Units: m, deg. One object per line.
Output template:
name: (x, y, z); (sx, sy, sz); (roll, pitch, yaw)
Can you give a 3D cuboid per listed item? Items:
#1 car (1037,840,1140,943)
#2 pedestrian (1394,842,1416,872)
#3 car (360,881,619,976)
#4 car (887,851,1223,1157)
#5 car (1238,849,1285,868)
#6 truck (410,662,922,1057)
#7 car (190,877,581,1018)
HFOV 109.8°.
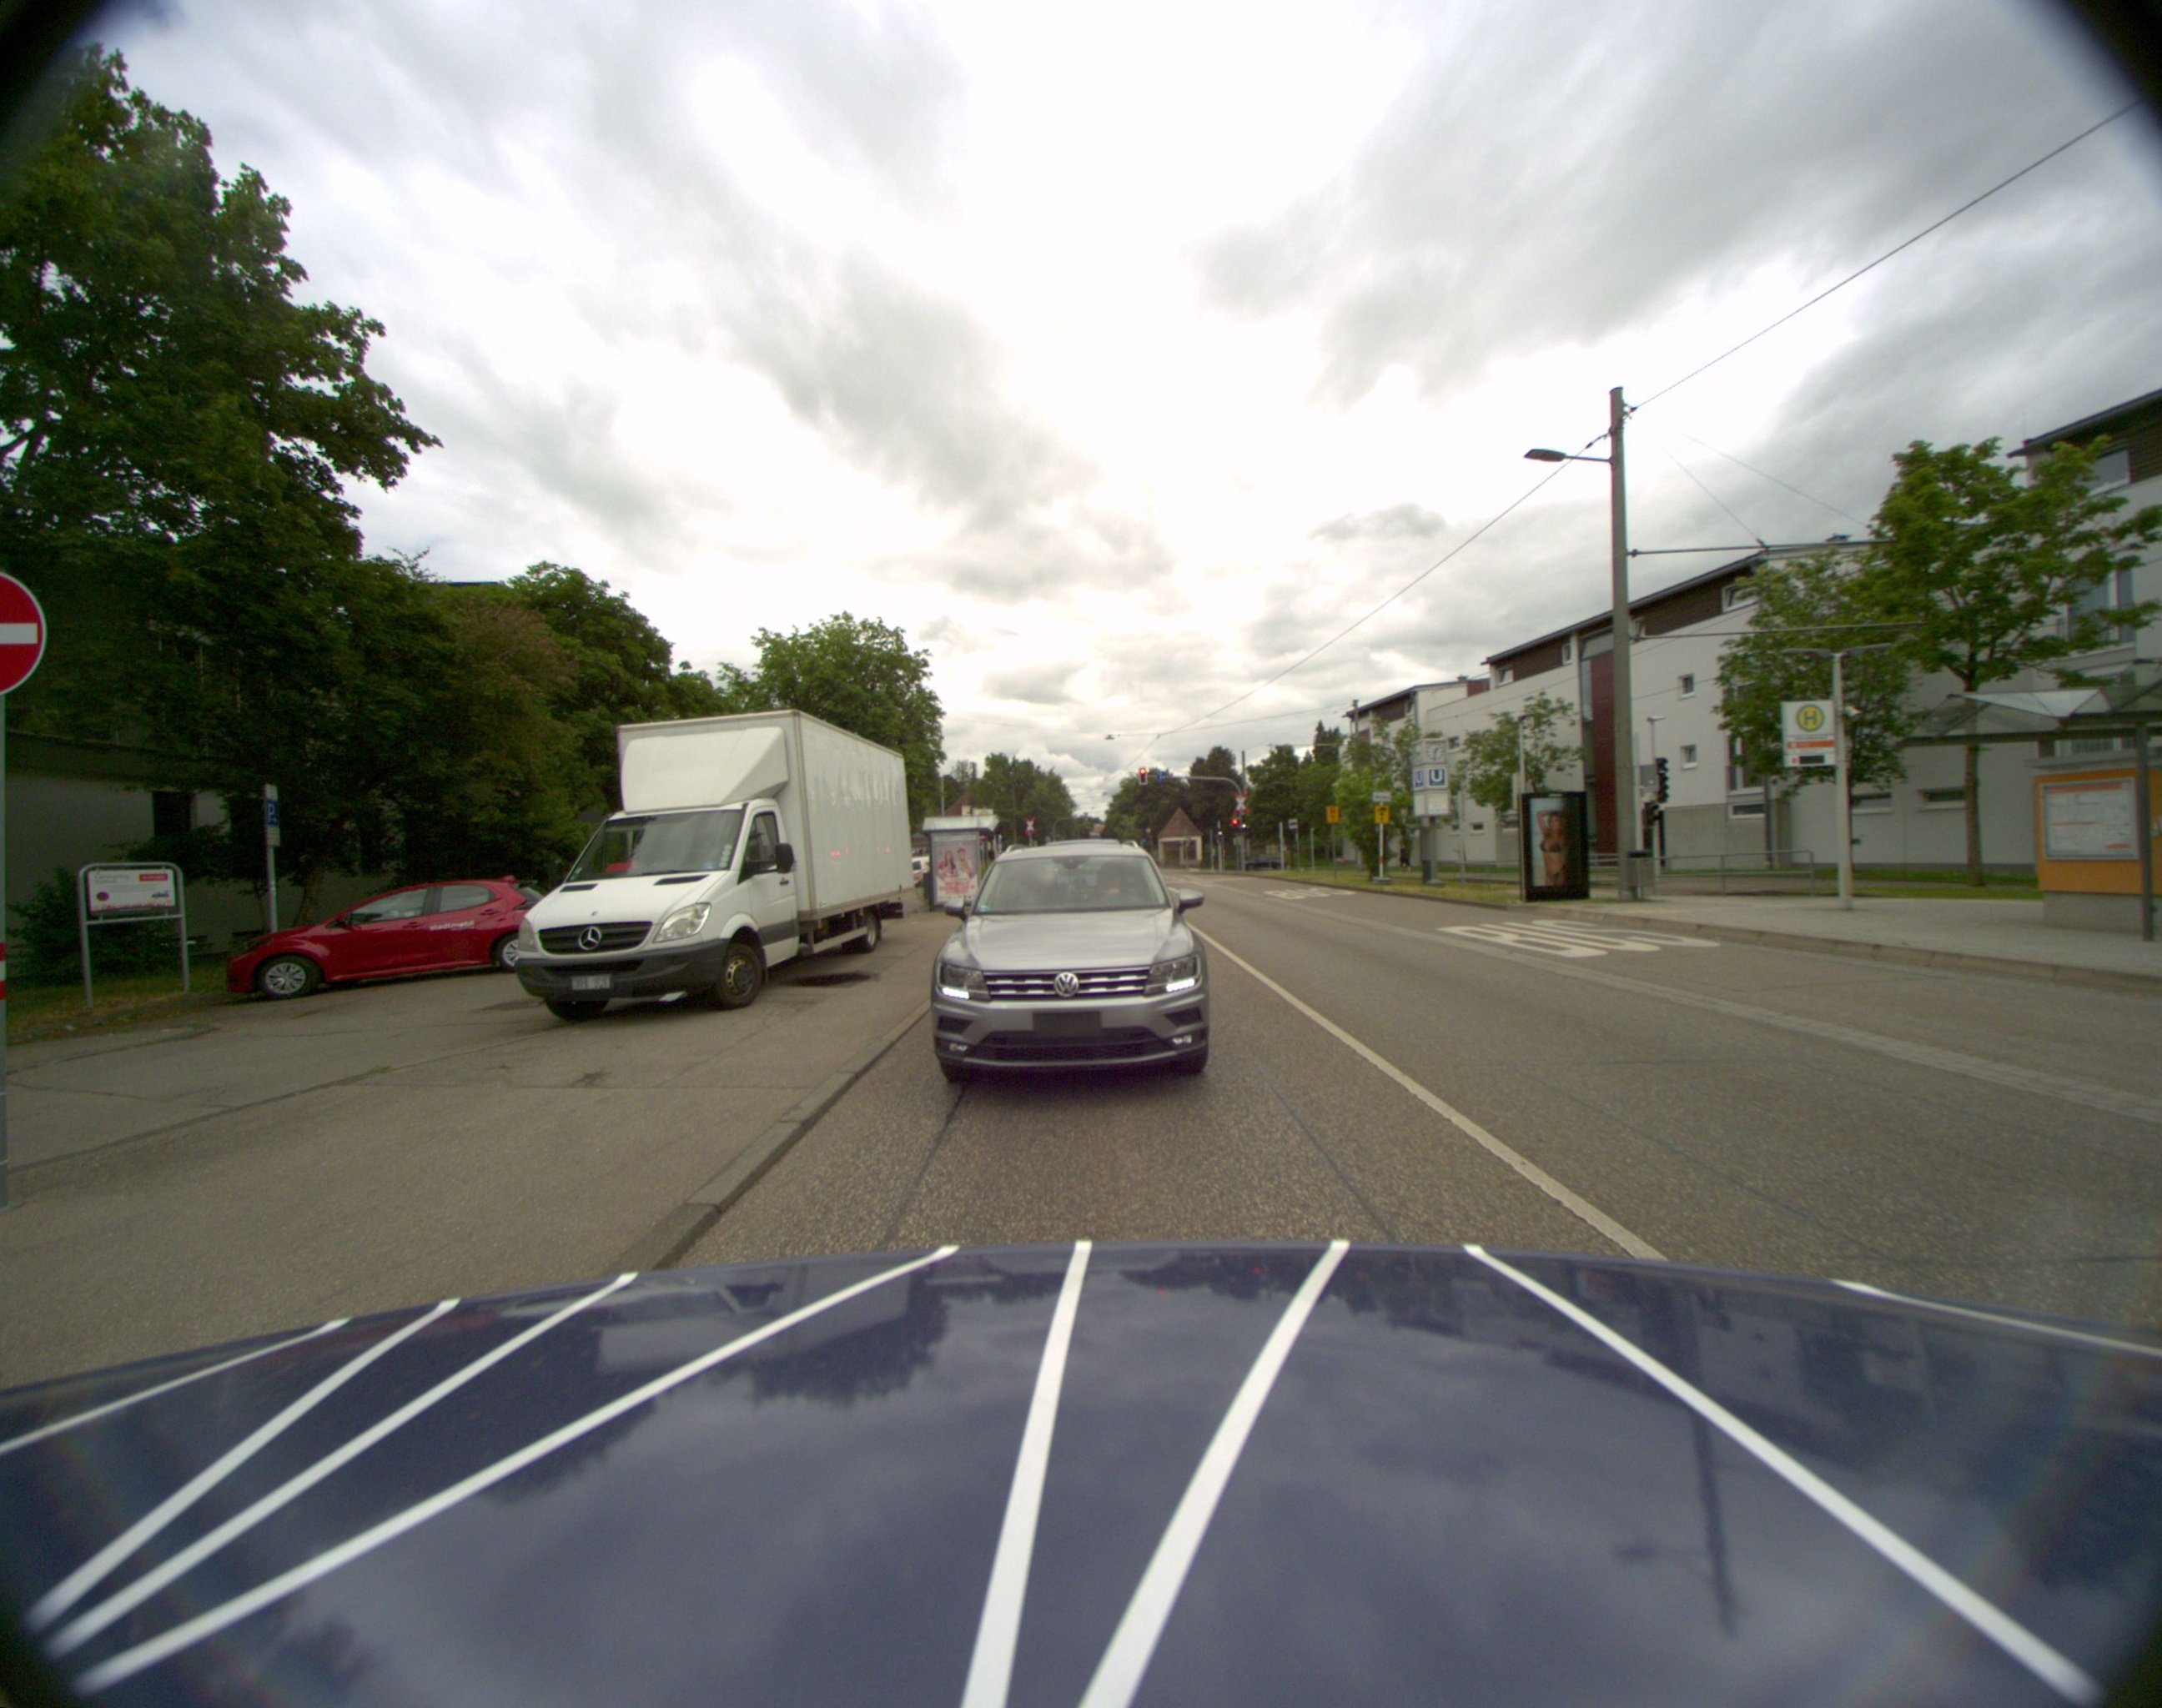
car: (0.168, 0.695, 16.147); (1.849, 1.850, 4.000); (-2, 0, 1)
pedestrian: (17.725, 0.162, 41.531); (0.782, 1.586, 0.780); (-2, 1, -8)
car: (-11.983, 1.438, 15.773); (4.005, 1.402, 1.521); (-5, 2, -31)
car: (-0.113, 0.829, 6.402); (1.811, 1.638, 4.330); (-2, 0, 1)
car: (17.484, 0.425, 73.812); (3.998, 1.696, 1.928); (-2, 1, -3)
truck: (-4.491, 0.001, 10.624); (2.541, 3.407, 7.775); (-2, 1, 2)
car: (-10.031, 1.263, 11.410); (3.902, 1.475, 1.680); (-5, 2, -24)
